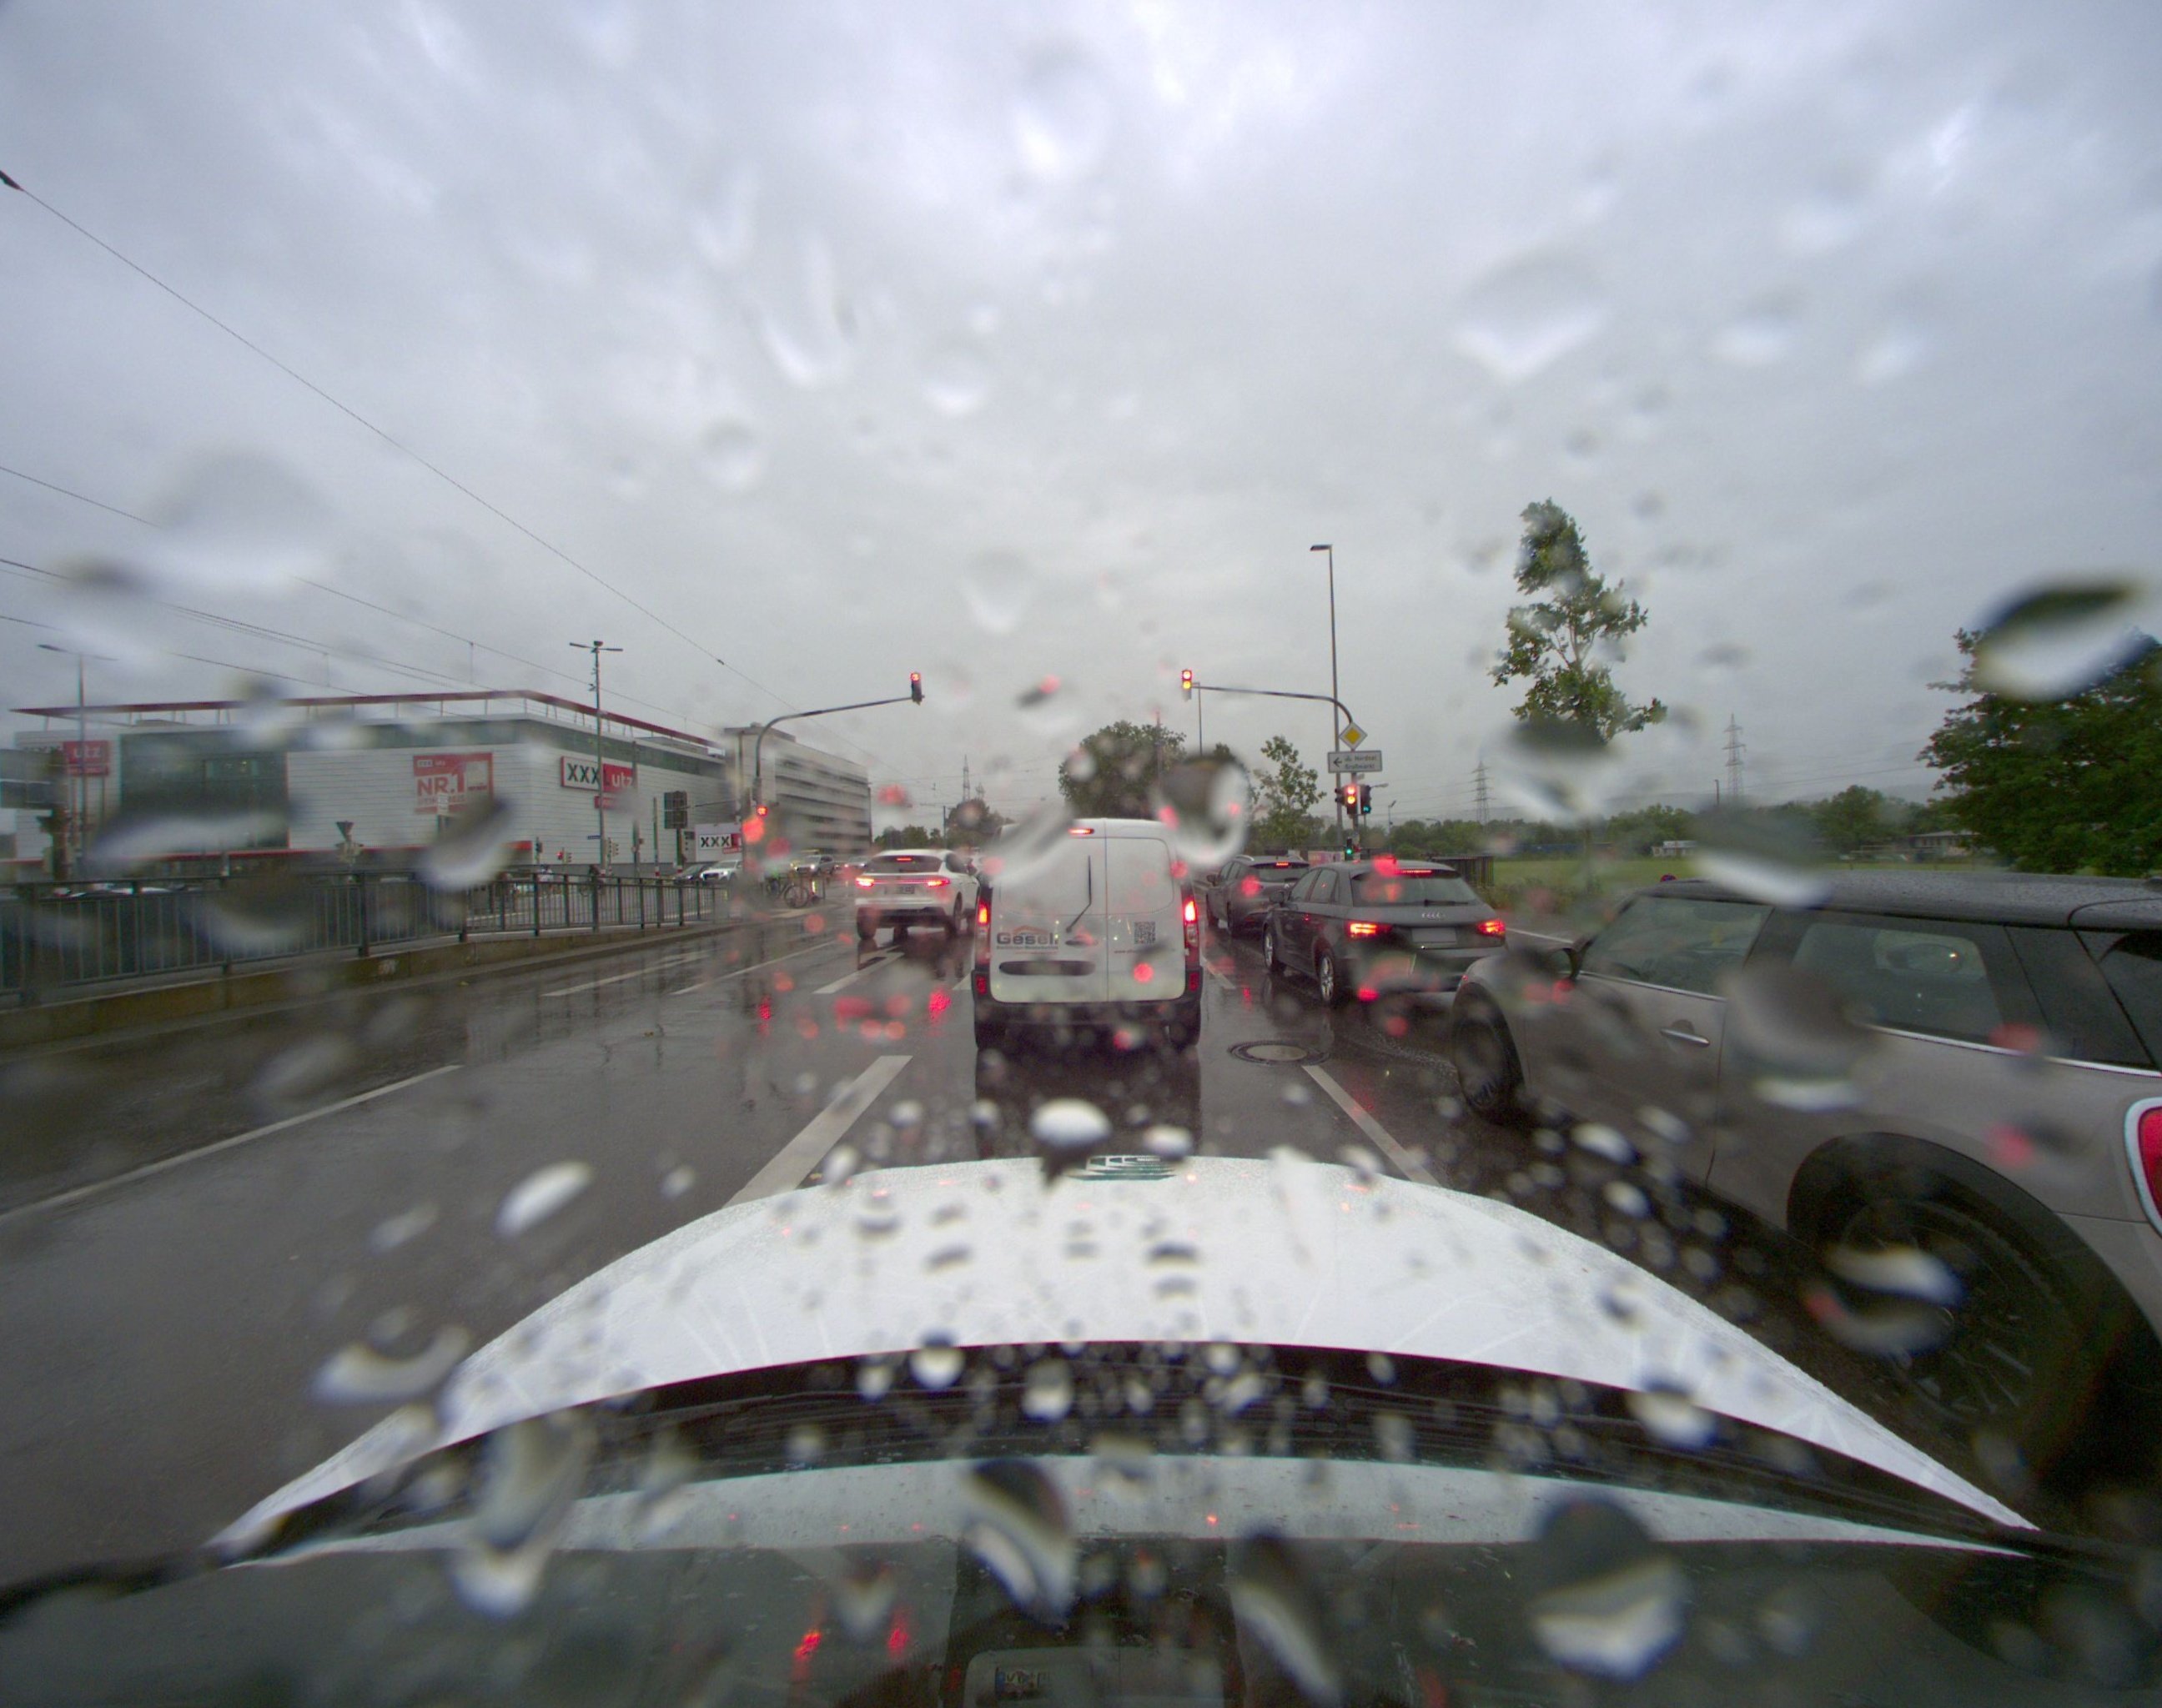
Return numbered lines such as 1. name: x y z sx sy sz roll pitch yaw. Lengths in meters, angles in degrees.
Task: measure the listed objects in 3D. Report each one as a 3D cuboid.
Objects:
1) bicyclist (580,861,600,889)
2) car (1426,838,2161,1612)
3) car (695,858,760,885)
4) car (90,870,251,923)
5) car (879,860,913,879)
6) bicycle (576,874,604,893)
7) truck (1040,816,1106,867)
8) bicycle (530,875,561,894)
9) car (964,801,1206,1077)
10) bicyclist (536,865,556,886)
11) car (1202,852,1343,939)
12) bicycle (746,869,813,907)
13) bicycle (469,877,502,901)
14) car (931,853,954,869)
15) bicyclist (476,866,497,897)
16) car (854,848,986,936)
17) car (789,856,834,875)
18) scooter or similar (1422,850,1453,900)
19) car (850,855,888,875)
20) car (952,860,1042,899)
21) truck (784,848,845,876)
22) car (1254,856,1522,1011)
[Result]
1. bicyclist: -26.667 1.138 44.255 0.681 1.464 0.647 0 -1 3
2. car: 2.980 0.716 3.251 1.707 1.508 3.624 0 0 1
3. car: -20.437 1.008 47.261 1.689 1.492 3.884 -1 -1 7
4. car: -36.844 1.705 33.045 4.298 2.014 2.001 0 -1 1
5. car: -17.688 1.462 77.925 1.919 1.827 4.007 -1 -1 6
6. bicycle: -26.666 1.573 44.253 0.448 0.987 1.710 0 -1 3
7. truck: -0.349 -0.655 49.237 2.616 2.816 7.165 -1 -1 10
8. bicycle: -29.135 1.662 44.331 0.448 0.987 1.710 0 -1 3
9. car: 0.089 0.570 7.361 1.560 1.788 4.002 -1 0 2
10. bicyclist: -29.132 1.161 44.352 0.681 1.134 0.647 0 -1 3
11. car: 3.501 0.693 15.570 1.853 1.428 3.808 0 0 1
12. bicycle: -8.826 0.994 23.856 1.745 1.034 0.414 2 -1 0
13. bicycle: -27.490 1.598 37.609 0.409 1.061 1.508 0 -1 -1
14. car: -17.789 0.896 104.560 1.985 2.014 4.003 0 -1 3
15. bicyclist: -27.501 1.274 37.676 0.531 1.399 0.650 0 -1 -1
16. car: -3.064 0.648 16.357 1.723 1.535 4.298 0 0 1
17. car: -19.545 0.853 59.234 1.579 1.336 3.837 -1 -1 6
18. scooter or similar: 8.457 0.493 19.344 0.244 1.158 1.187 0 -1 3
19. car: -18.328 0.916 70.713 1.883 1.699 4.006 0 -1 6
20. car: -3.834 1.130 37.711 1.599 1.660 4.104 -1 -1 43
21. truck: -22.500 0.663 69.228 2.342 2.279 7.637 0 0 2
22. car: 3.081 0.710 8.972 1.623 1.344 3.624 0 0 1
